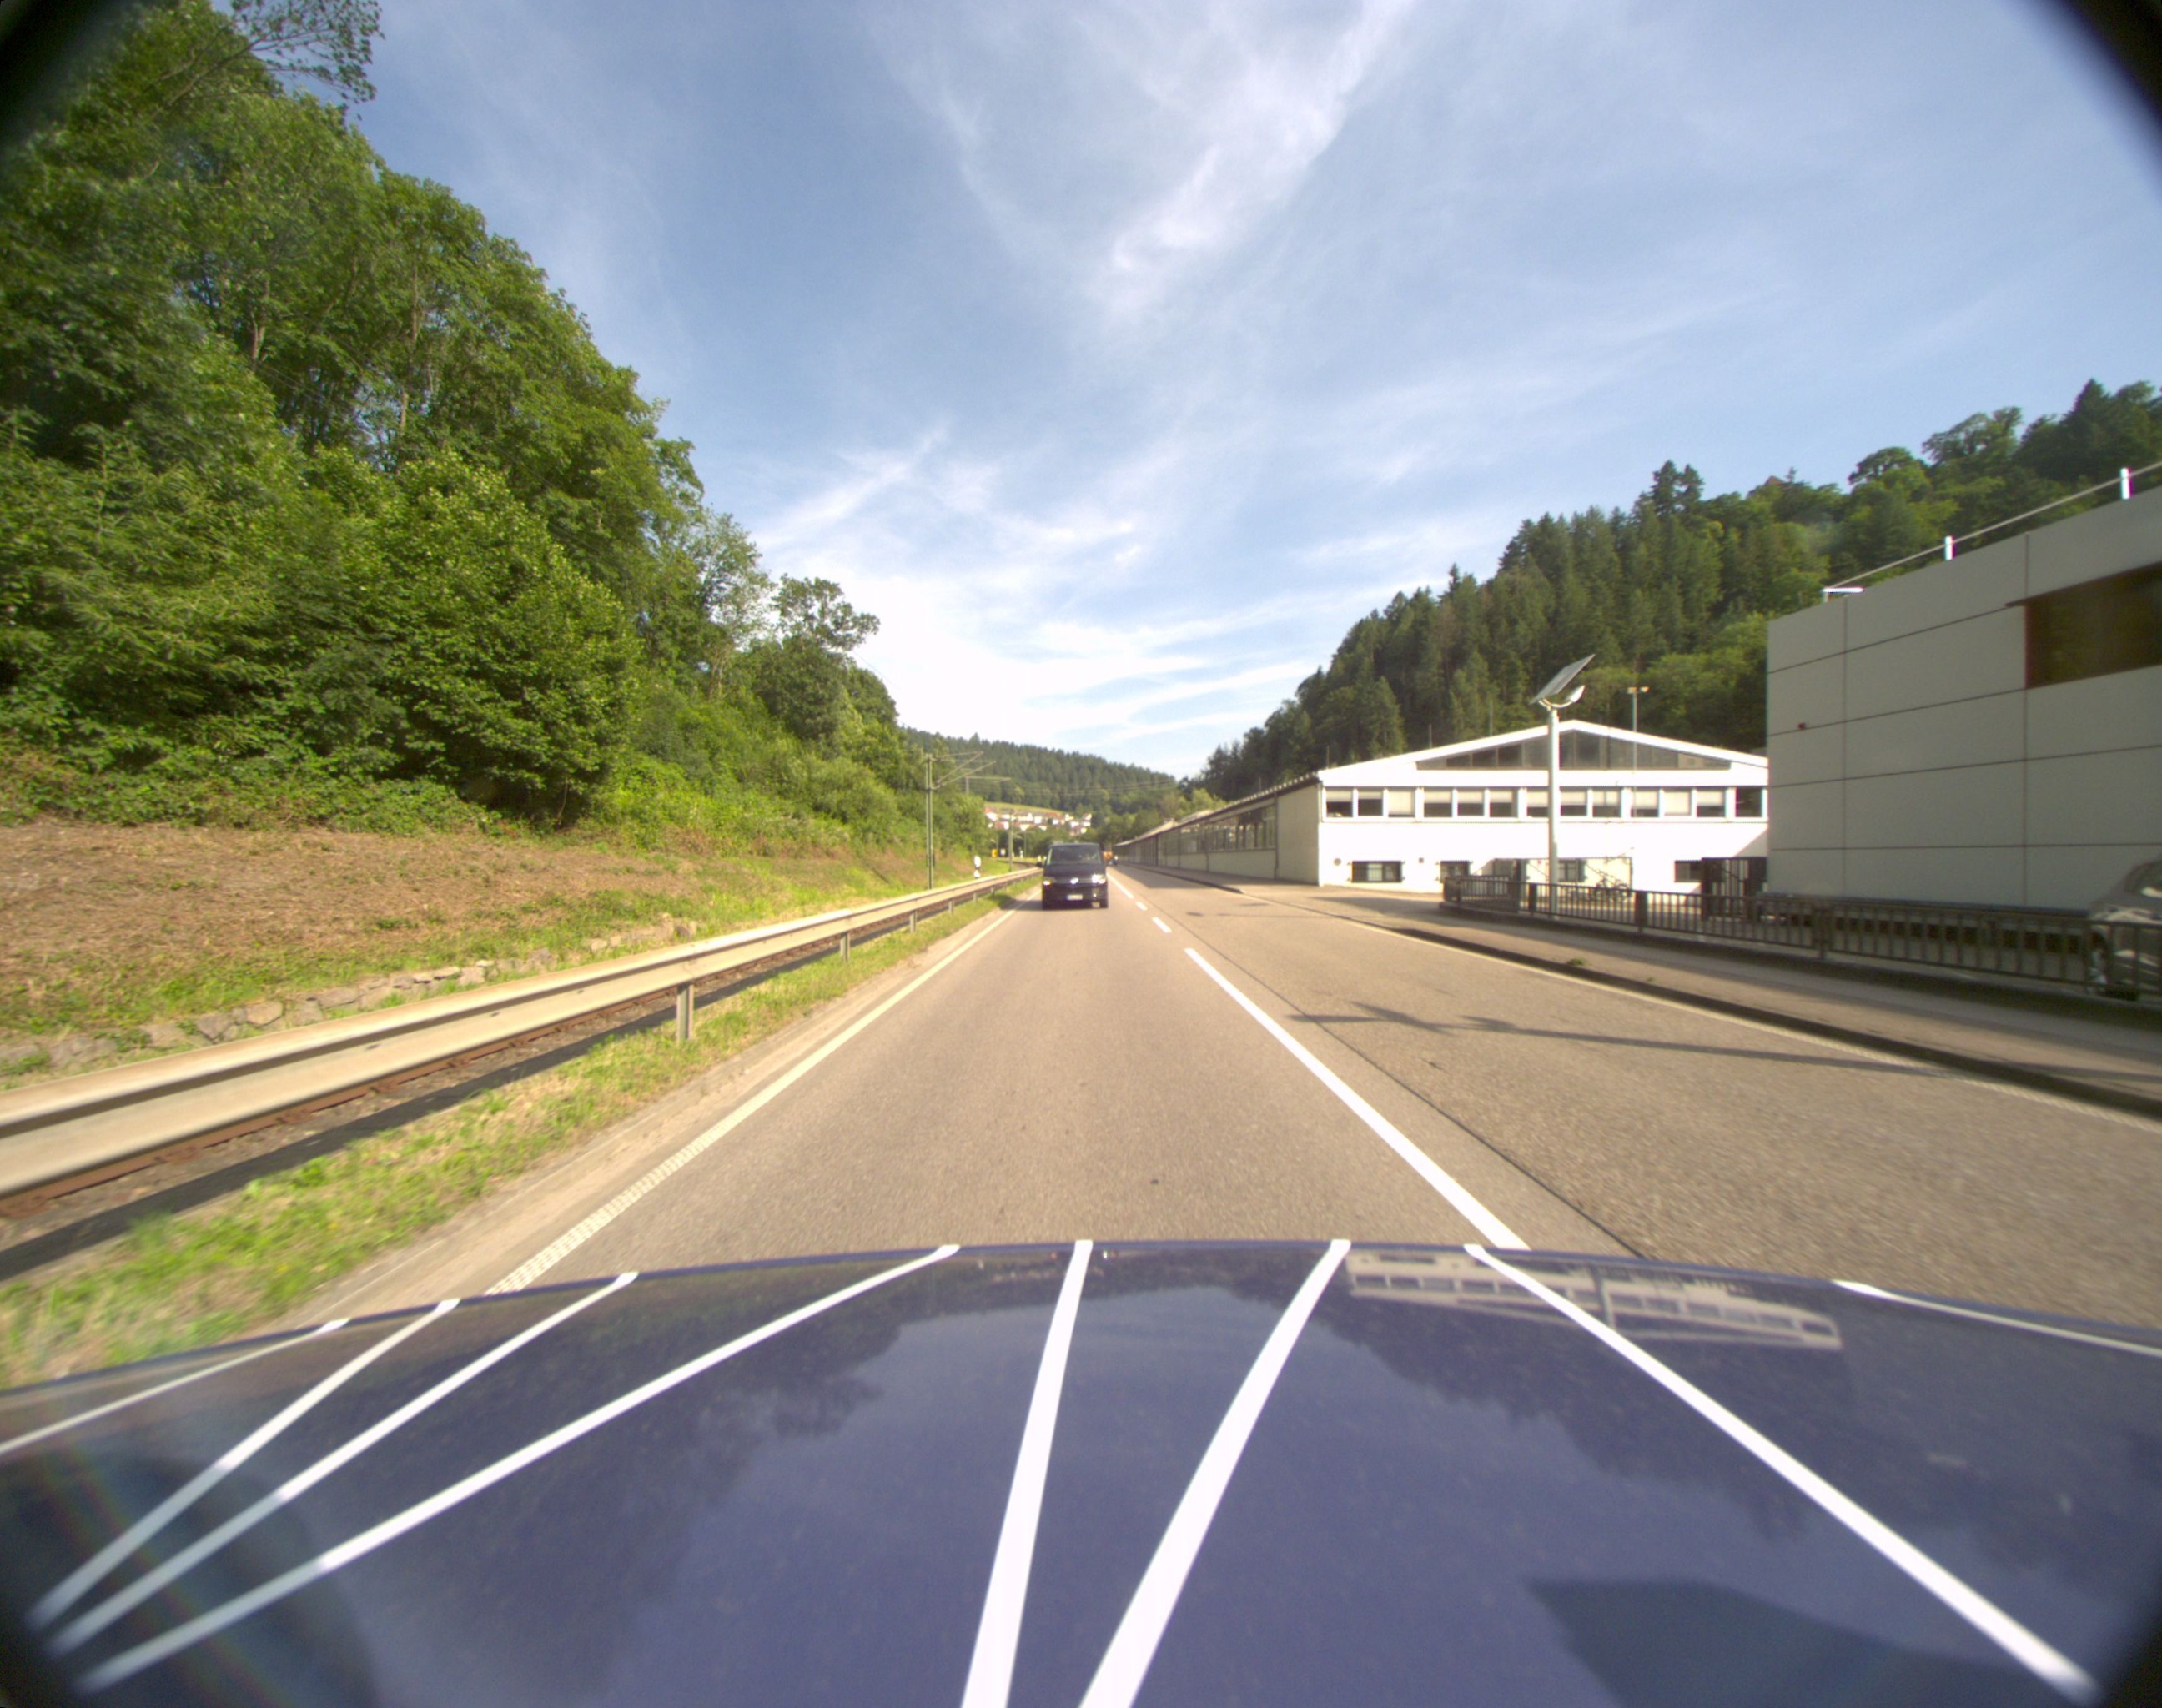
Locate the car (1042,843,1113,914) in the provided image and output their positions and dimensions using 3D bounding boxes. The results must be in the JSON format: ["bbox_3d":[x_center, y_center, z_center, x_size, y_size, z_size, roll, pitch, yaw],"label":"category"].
[{"bbox_3d":[-0.206,0.668,23.505,1.901,1.927,5.187,-1,0,-3],"label":"car"}]

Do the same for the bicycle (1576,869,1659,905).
[{"bbox_3d":[20.326,1.231,28.836,2.499,1.253,1.041,2,1,-8],"label":"bicycle"}]

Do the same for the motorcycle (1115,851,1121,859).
[{"bbox_3d":[5.370,0.149,109.127,0.743,1.062,2.492,-1,0,0],"label":"motorcycle"}]

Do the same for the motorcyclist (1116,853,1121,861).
[{"bbox_3d":[5.350,0.395,108.667,0.587,1.118,0.636,-1,1,0],"label":"motorcyclist"}]

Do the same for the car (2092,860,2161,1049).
[{"bbox_3d":[9.895,0.882,5.786,1.883,1.582,4.184,0,1,42],"label":"car"}]
